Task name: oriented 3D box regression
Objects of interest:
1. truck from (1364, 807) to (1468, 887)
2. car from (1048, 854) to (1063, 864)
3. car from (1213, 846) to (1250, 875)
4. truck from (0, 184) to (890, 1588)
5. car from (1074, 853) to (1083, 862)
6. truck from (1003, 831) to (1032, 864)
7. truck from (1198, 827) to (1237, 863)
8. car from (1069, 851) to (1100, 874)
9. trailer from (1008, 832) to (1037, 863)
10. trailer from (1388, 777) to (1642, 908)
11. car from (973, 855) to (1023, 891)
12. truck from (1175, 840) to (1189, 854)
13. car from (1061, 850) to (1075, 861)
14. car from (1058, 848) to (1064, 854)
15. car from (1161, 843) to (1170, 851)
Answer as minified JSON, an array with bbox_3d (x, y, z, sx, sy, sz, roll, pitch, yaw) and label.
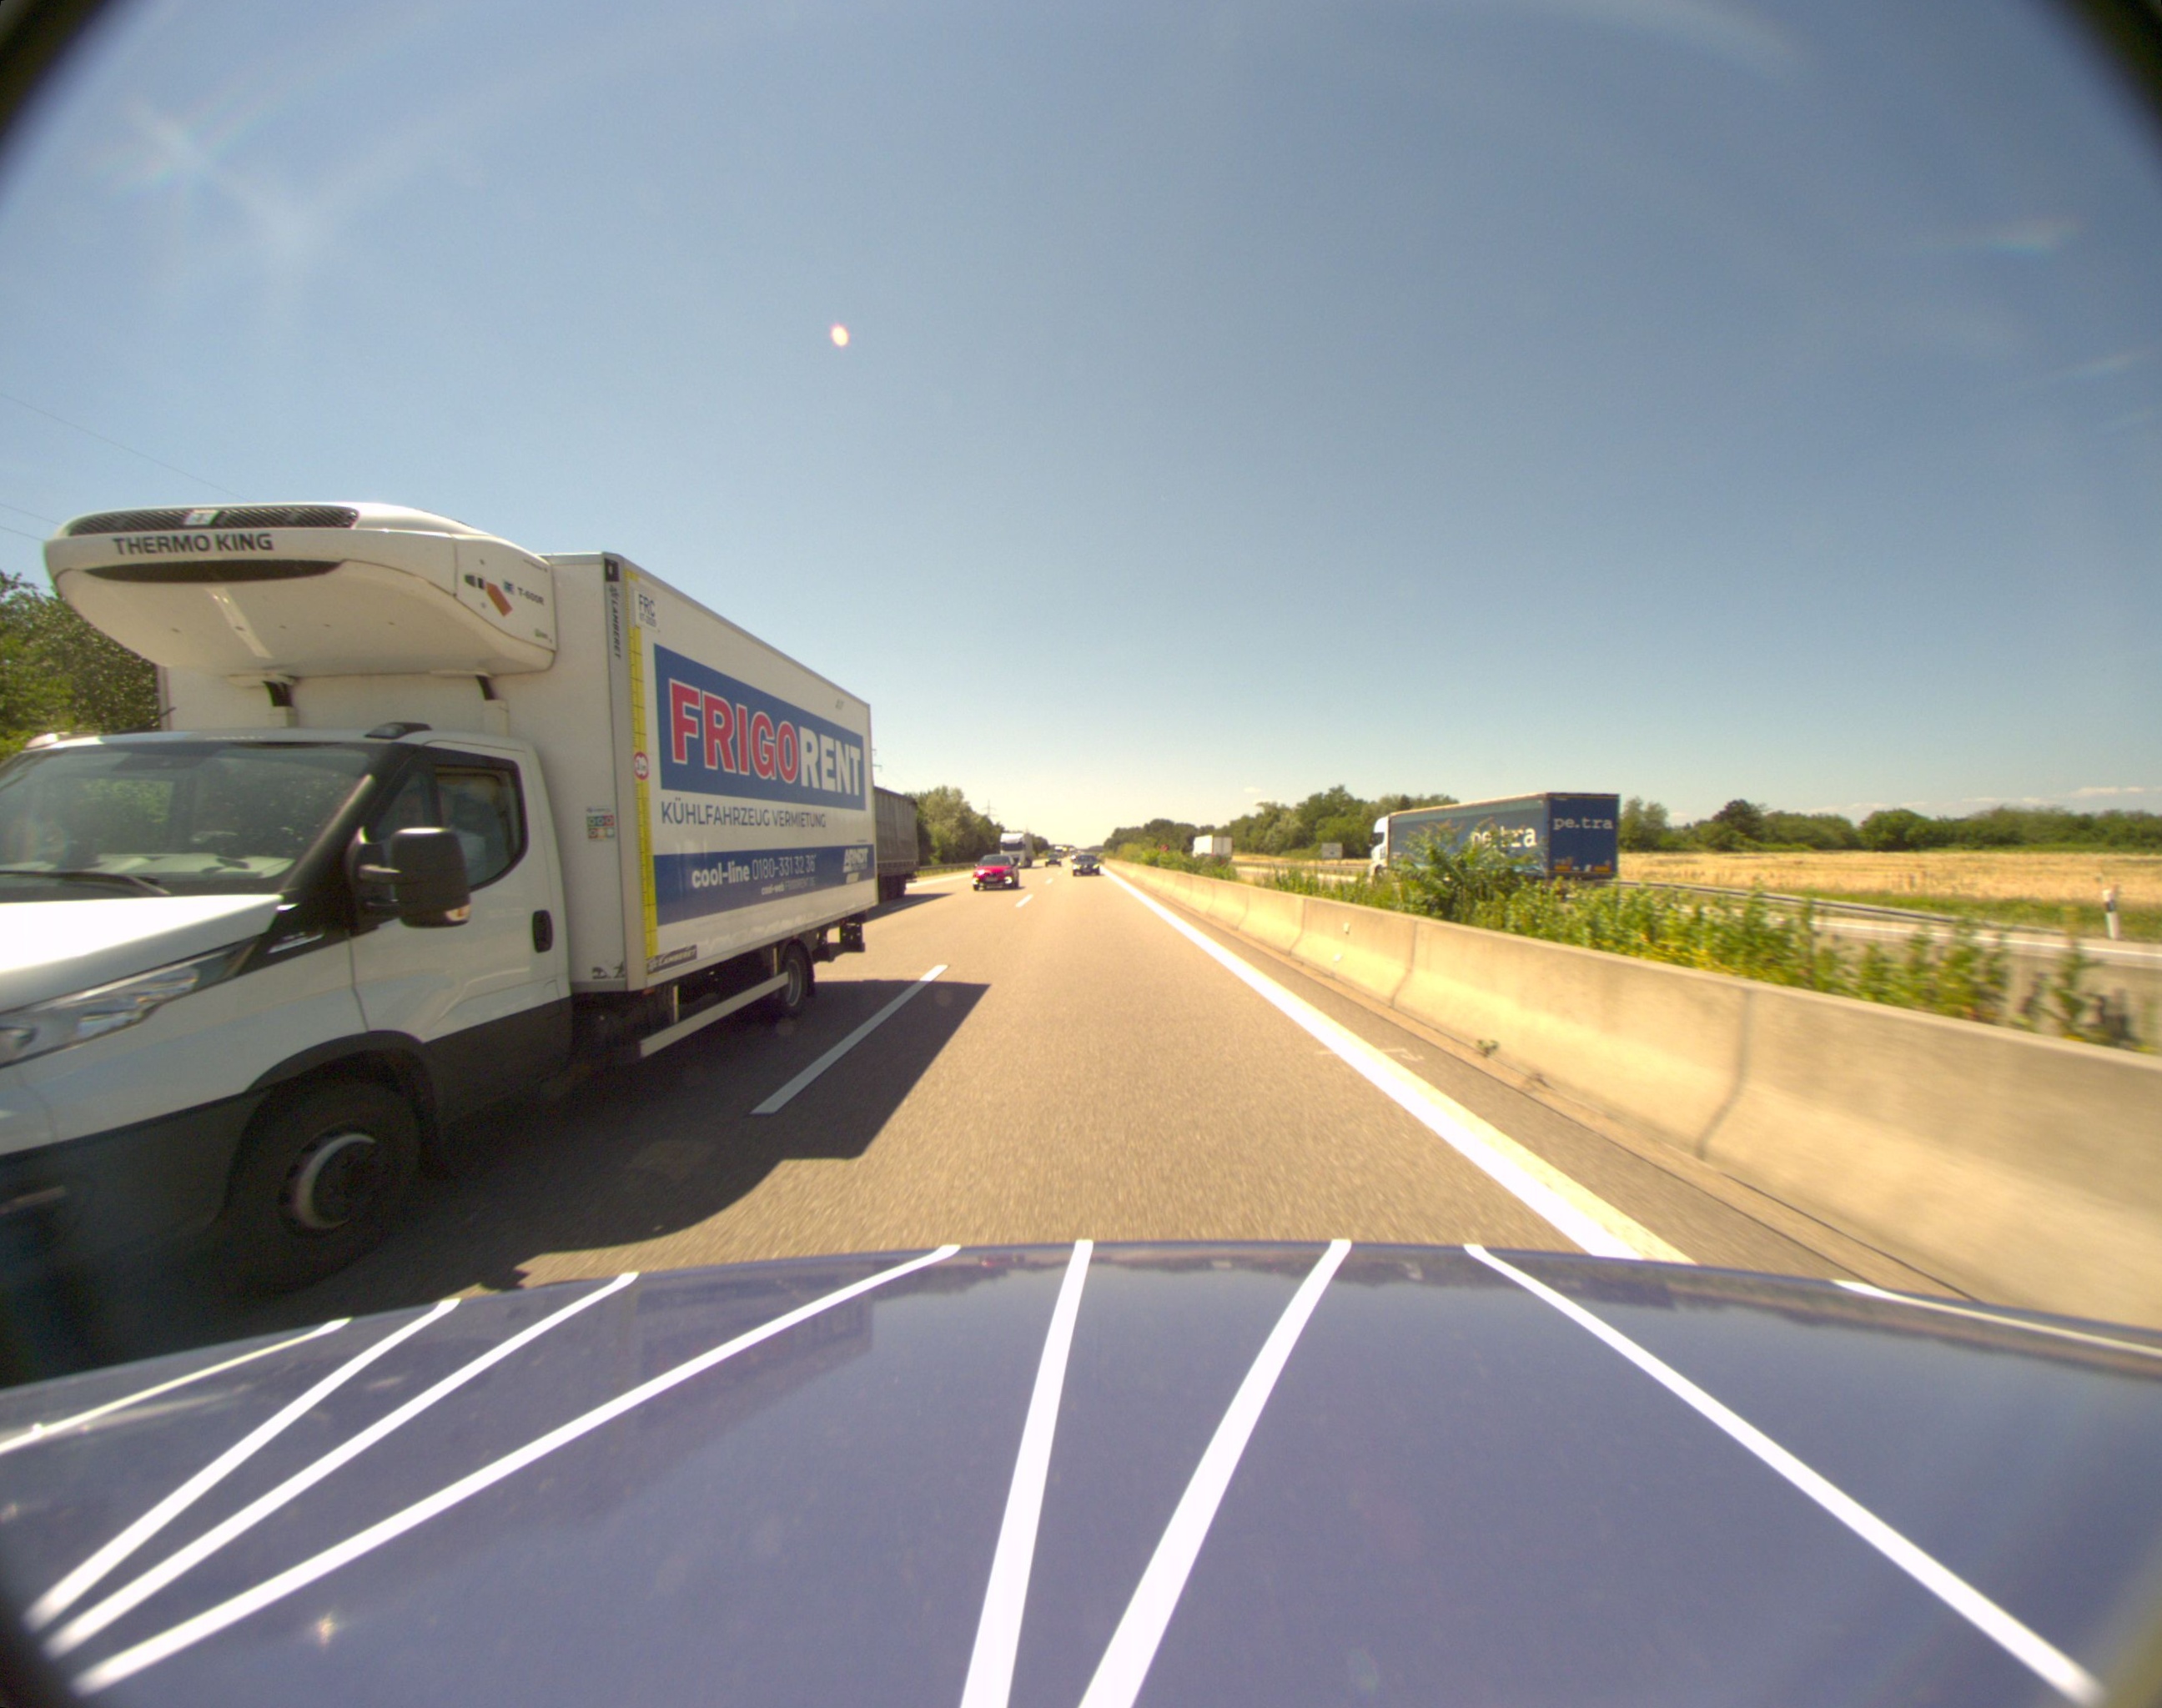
[{"bbox_3d":[17.707,-0.393,40.593,3.239,3.873,5.158,-2,1,1],"label":"truck"},{"bbox_3d":[-3.074,0.560,92.353,1.545,1.098,3.054,-2,2,1],"label":"car"},{"bbox_3d":[10.619,0.444,53.831,1.863,2.002,4.000,0,1,1],"label":"car"},{"bbox_3d":[-3.905,0.043,5.627,2.784,3.328,7.812,-2,1,1],"label":"truck"},{"bbox_3d":[-0.525,0.791,167.426,1.851,1.755,3.719,-2,1,1],"label":"car"},{"bbox_3d":[-7.145,-0.730,86.223,2.457,3.533,6.457,-2,1,1],"label":"truck"},{"bbox_3d":[17.770,-1.195,99.865,3.258,4.354,10.536,-2,1,1],"label":"truck"},{"bbox_3d":[0.200,0.563,53.185,1.999,1.462,6.346,0,1,-1],"label":"car"},{"bbox_3d":[-7.033,-0.812,93.208,2.457,3.533,9.717,-2,1,1],"label":"trailer"},{"bbox_3d":[17.605,-0.465,32.757,3.273,4.354,13.500,-2,1,1],"label":"trailer"},{"bbox_3d":[-3.704,0.811,34.564,1.671,1.439,4.000,-2,1,1],"label":"car"},{"bbox_3d":[28.829,-2.035,217.003,2.922,3.819,8.168,-2,1,1],"label":"truck"},{"bbox_3d":[-1.966,0.206,115.920,1.851,1.596,3.574,-2,1,1],"label":"car"},{"bbox_3d":[-6.645,-0.980,253.754,1.999,2.002,3.999,-2,1,0],"label":"car"},{"bbox_3d":[18.334,-1.496,164.337,1.597,1.836,3.556,-1,1,1],"label":"car"}]
